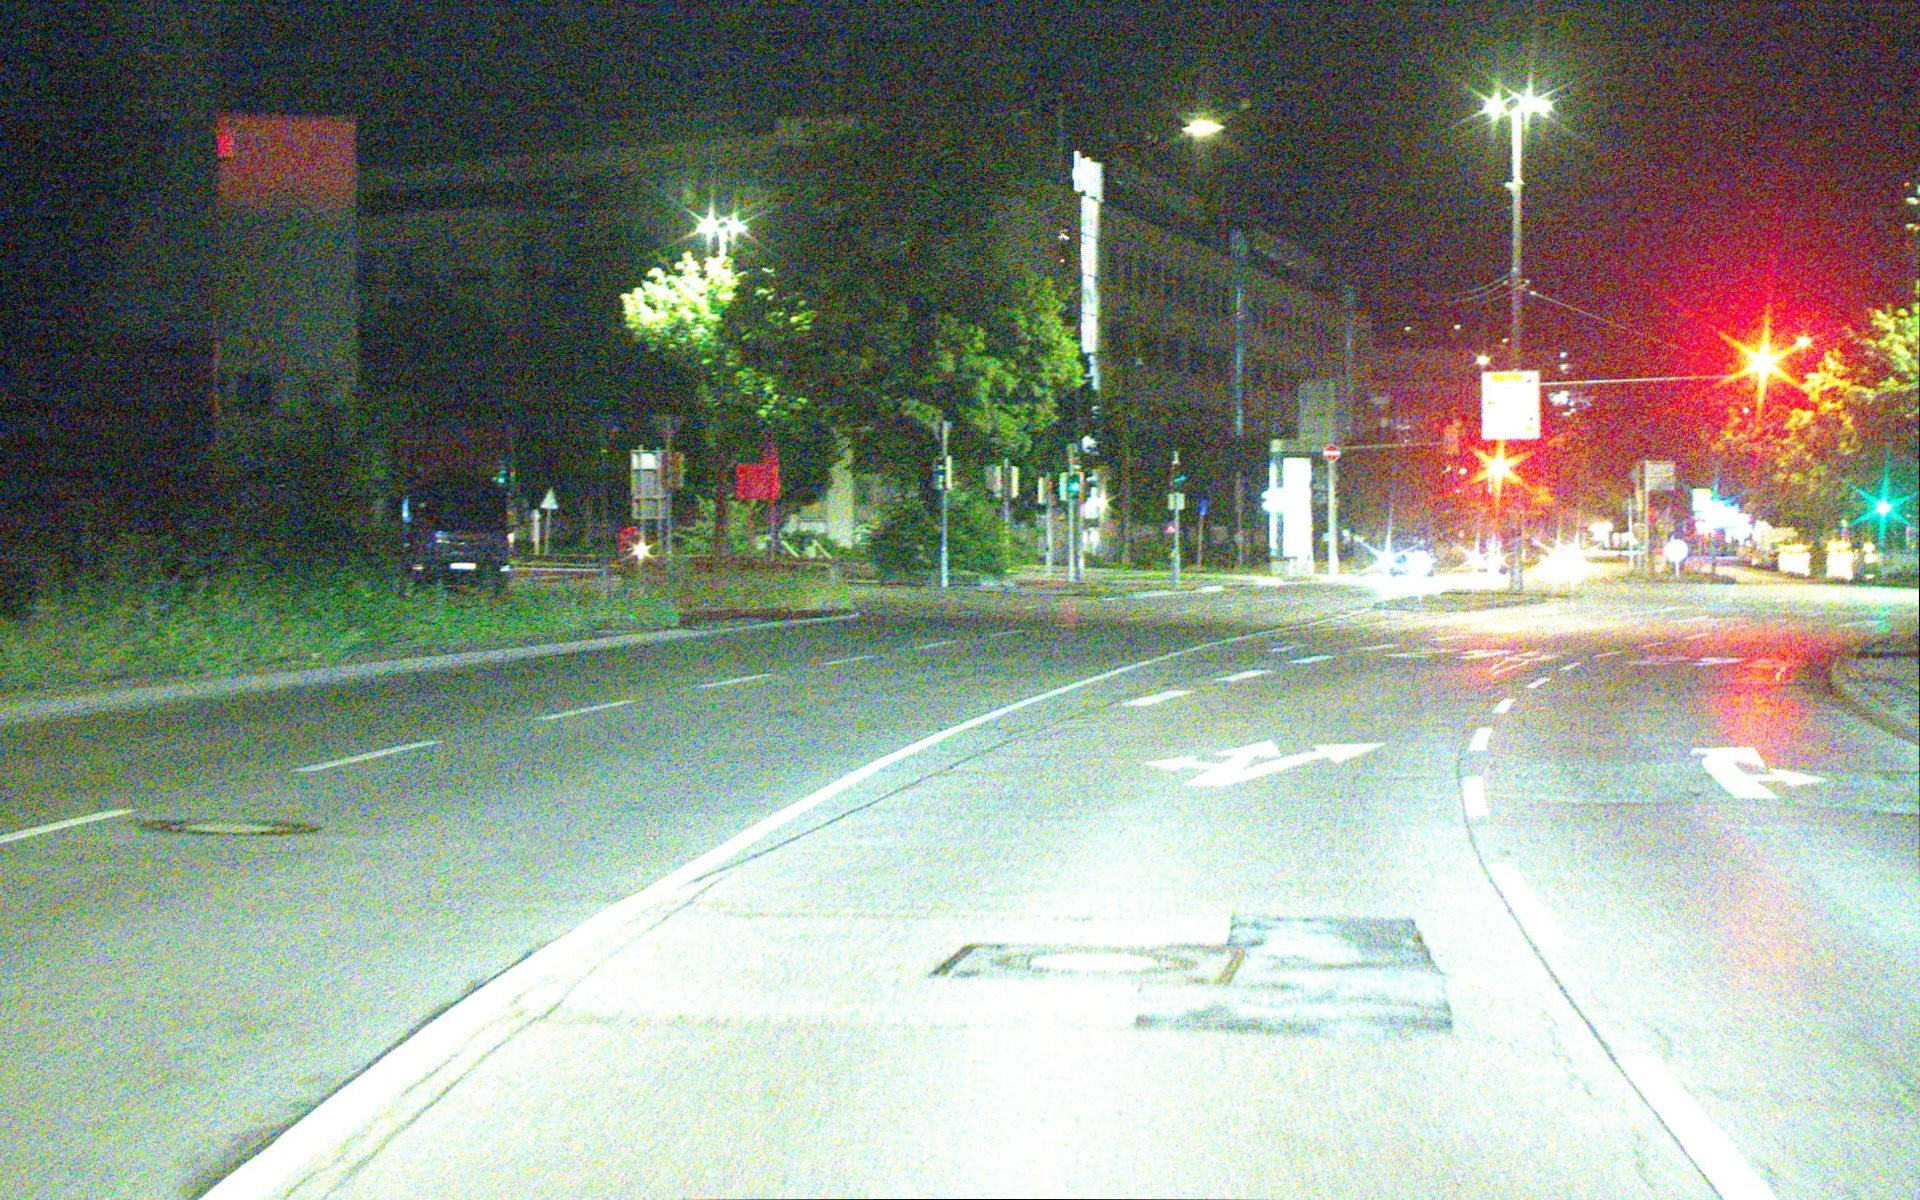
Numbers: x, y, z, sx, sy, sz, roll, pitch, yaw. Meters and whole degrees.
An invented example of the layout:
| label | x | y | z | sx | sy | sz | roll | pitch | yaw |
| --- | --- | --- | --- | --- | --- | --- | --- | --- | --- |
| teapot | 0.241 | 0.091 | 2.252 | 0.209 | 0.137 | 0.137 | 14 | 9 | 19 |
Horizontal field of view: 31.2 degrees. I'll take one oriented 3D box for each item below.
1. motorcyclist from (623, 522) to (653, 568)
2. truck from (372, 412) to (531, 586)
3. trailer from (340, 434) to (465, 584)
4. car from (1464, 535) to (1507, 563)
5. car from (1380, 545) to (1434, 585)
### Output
| label | x | y | z | sx | sy | sz | roll | pitch | yaw |
| --- | --- | --- | --- | --- | --- | --- | --- | --- | --- |
| motorcyclist | -8.777 | -1.498 | 93.694 | 0.646 | 1.257 | 0.579 | 1 | 1 | -29 |
| truck | -12.006 | -2.294 | 80.499 | 2.937 | 3.783 | 9.561 | 1 | 1 | -13 |
| trailer | -14.771 | -2.362 | 90.806 | 2.612 | 3.778 | 6.516 | 1 | 1 | -15 |
| car | 25.543 | -2.493 | 167.083 | 1.759 | 1.317 | 3.545 | 1 | 1 | 14 |
| car | 17.466 | -1.361 | 134.194 | 1.617 | 1.509 | 3.997 | 1 | 1 | 14 |
